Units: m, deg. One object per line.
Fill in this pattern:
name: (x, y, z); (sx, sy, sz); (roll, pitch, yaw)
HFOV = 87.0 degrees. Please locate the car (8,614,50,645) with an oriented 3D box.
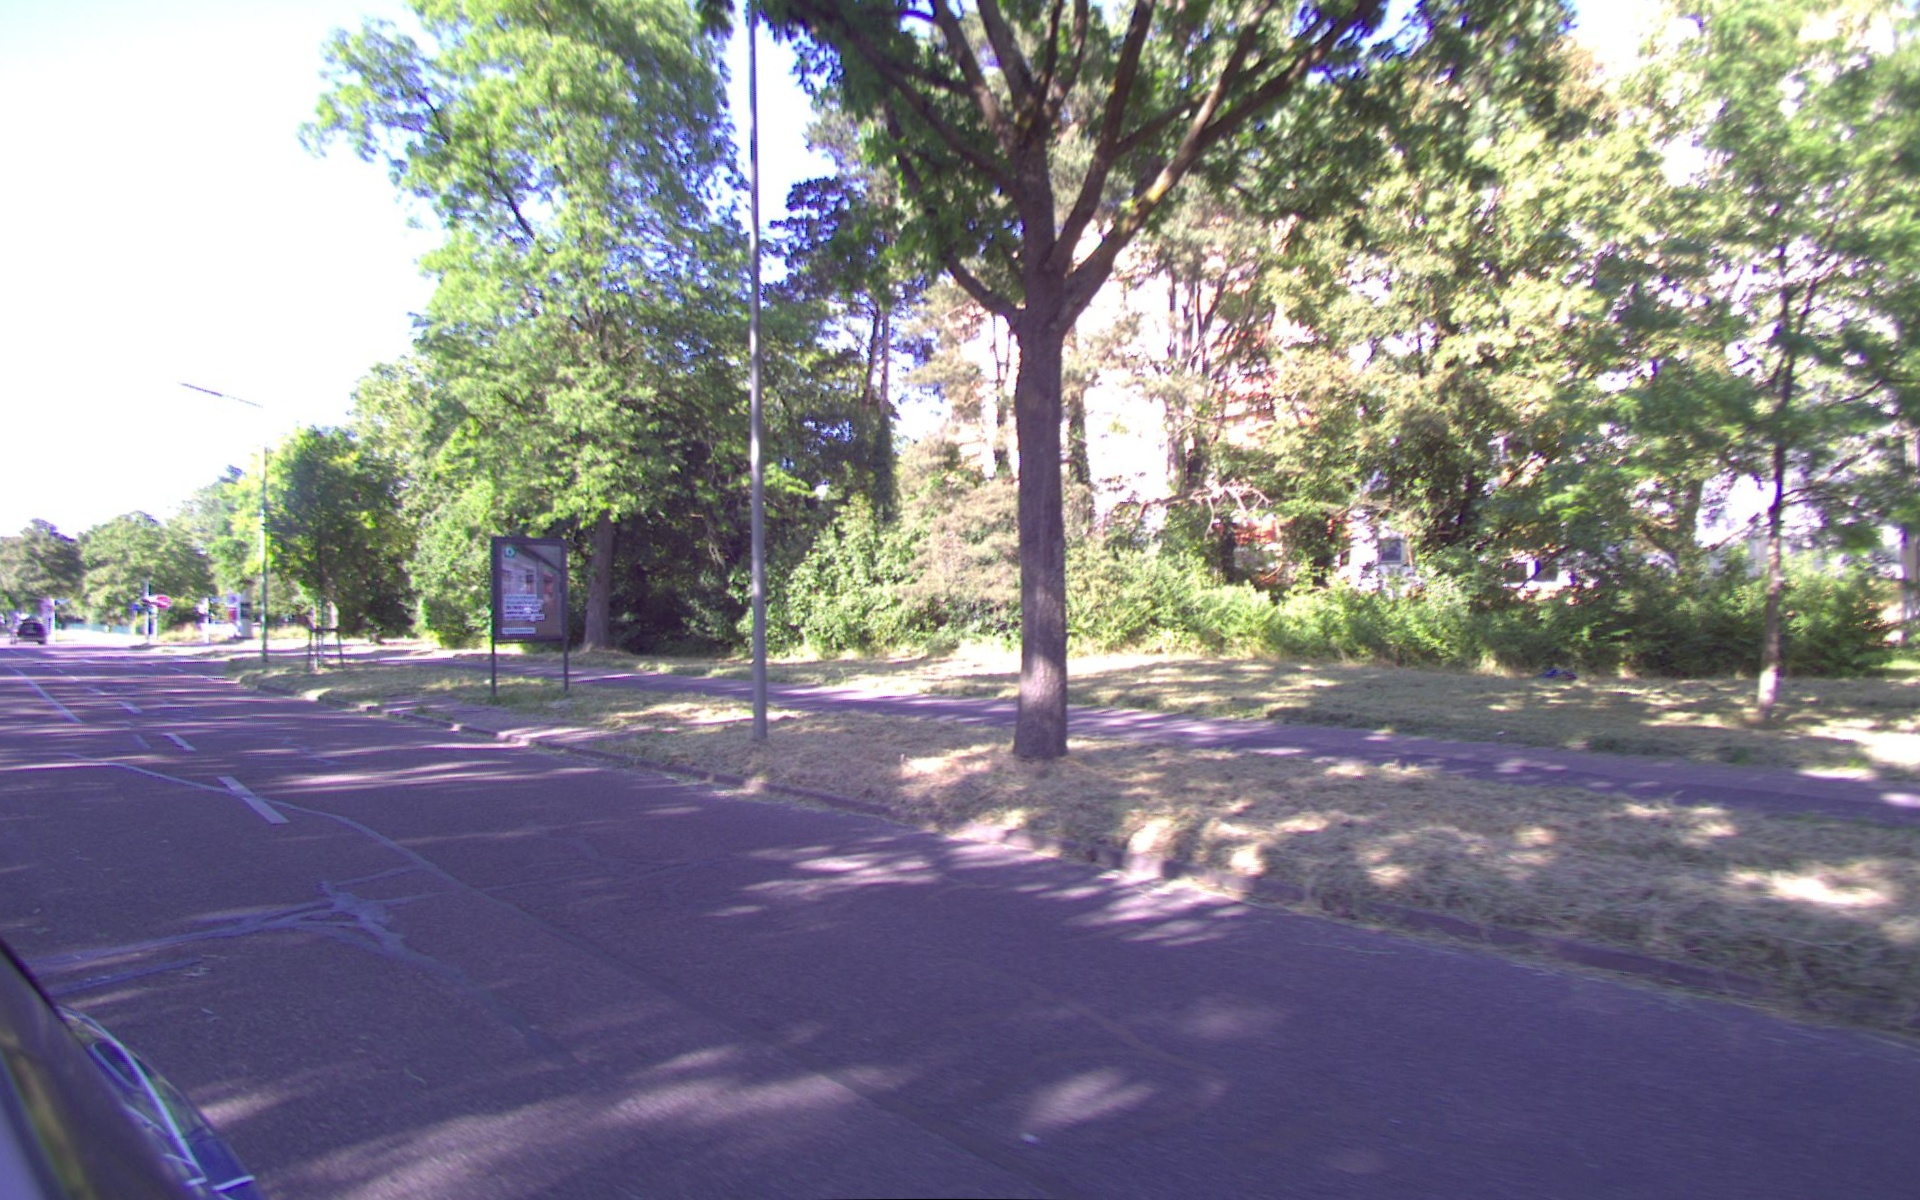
car: (-65.314, 2.098, 70.973); (3.642, 2.111, 1.878); (-1, -3, 44)
